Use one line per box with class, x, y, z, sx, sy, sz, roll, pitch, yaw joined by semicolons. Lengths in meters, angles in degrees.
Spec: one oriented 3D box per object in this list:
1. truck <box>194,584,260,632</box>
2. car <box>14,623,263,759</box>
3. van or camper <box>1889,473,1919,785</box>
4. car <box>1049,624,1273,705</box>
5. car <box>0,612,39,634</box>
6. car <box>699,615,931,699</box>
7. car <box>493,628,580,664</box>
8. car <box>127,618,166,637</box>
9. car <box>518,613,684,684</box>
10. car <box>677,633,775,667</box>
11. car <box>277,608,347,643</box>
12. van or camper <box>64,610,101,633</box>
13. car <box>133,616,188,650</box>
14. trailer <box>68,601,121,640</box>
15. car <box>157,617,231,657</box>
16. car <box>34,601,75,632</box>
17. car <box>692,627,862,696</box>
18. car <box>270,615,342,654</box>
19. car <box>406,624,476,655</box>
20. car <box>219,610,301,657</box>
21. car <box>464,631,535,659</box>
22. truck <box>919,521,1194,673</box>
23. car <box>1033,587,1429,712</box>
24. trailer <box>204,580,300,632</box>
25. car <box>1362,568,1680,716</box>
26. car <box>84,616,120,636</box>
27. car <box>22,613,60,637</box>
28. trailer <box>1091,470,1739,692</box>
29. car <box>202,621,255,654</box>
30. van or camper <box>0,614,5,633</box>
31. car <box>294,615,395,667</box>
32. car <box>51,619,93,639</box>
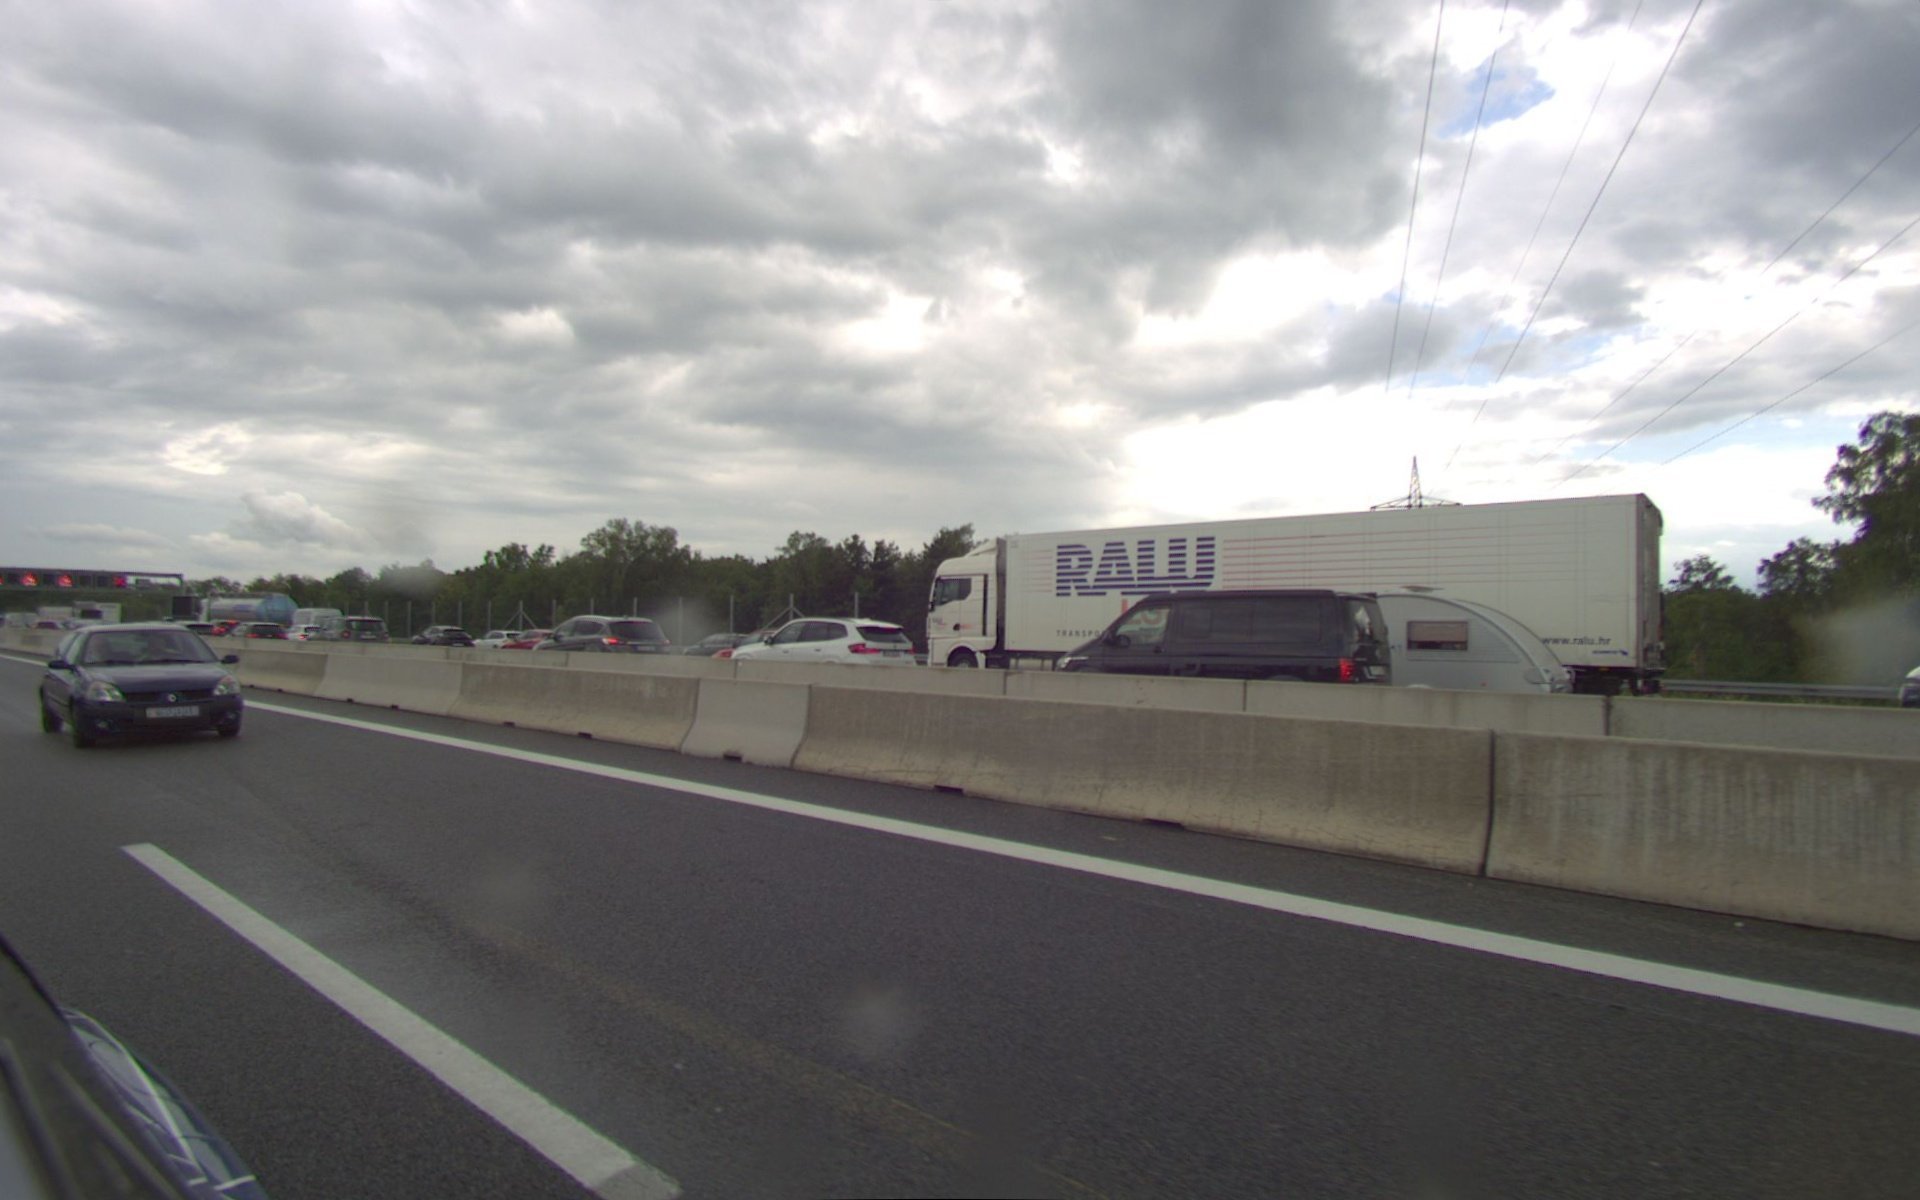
truck;-57.054;0.692;78.711;6.796;3.540;2.700;-2;-1;41
car;-10.748;1.023;13.086;5.015;1.418;1.758;-1;-1;42
van or camper;11.833;0.174;7.232;7.517;2.725;2.156;-2;-1;41
car;3.890;1.202;19.963;3.998;1.421;1.733;-2;-1;41
car;-87.760;2.174;94.420;5.628;1.984;2.073;-2;-1;41
car;-3.068;1.088;20.659;5.078;1.488;1.830;-2;-1;41
car;-18.520;1.974;44.189;4.139;1.468;1.850;-2;-1;41
car;-67.296;2.235;83.719;4.350;1.514;1.781;-1;-1;41
car;-9.228;1.181;25.832;4.842;1.636;1.874;-2;-1;41
car;-9.446;1.983;40.698;4.360;1.217;1.629;-1;-1;41
car;-42.119;1.646;65.732;6.615;2.166;2.094;-2;-1;41
van or camper;-85.739;2.086;98.825;4.968;2.202;2.073;-2;-1;41
car;-48.317;1.963;61.162;4.210;1.968;1.874;-2;-1;41
trailer;-112.817;2.739;131.793;13.283;4.893;3.115;-2;-1;40
car;-39.729;1.908;52.445;5.212;1.952;2.094;-2;-1;41
car;-98.485;1.815;110.024;7.623;3.325;2.472;-2;-1;41
car;-5.101;1.622;27.748;4.998;1.690;1.874;-2;-1;41
car;-34.967;1.814;54.052;4.424;1.952;2.094;-2;-1;41
car;-26.427;1.983;51.513;3.998;1.463;1.848;-1;-1;41
car;-31.161;1.459;45.023;3.998;1.952;2.094;-2;-1;41
car;-25.561;2.464;56.137;3.998;1.462;2.094;-2;-1;41
truck;2.359;-0.013;26.186;6.524;3.432;3.012;-2;-1;41
car;3.668;0.637;14.444;5.169;1.488;1.860;-2;-1;41
trailer;-52.286;0.575;74.514;13.603;3.553;2.682;-2;-1;41
car;8.755;0.612;15.932;3.998;2.016;2.185;-2;-1;41
car;-76.321;2.288;90.041;4.424;1.673;1.844;-1;-1;41
car;-78.051;2.119;85.947;4.803;1.984;1.844;-1;-1;41
trailer;8.471;-0.180;20.827;11.770;3.459;2.993;-2;-1;41
car;-46.147;2.349;63.789;3.998;1.968;1.874;-2;-1;41
van or camper;-103.525;2.521;107.842;6.343;2.029;1.973;-1;-1;41
car;-22.678;1.475;37.219;4.704;1.772;1.850;-2;-1;41
car;-66.413;2.151;75.681;4.970;1.495;1.746;-1;-1;41
